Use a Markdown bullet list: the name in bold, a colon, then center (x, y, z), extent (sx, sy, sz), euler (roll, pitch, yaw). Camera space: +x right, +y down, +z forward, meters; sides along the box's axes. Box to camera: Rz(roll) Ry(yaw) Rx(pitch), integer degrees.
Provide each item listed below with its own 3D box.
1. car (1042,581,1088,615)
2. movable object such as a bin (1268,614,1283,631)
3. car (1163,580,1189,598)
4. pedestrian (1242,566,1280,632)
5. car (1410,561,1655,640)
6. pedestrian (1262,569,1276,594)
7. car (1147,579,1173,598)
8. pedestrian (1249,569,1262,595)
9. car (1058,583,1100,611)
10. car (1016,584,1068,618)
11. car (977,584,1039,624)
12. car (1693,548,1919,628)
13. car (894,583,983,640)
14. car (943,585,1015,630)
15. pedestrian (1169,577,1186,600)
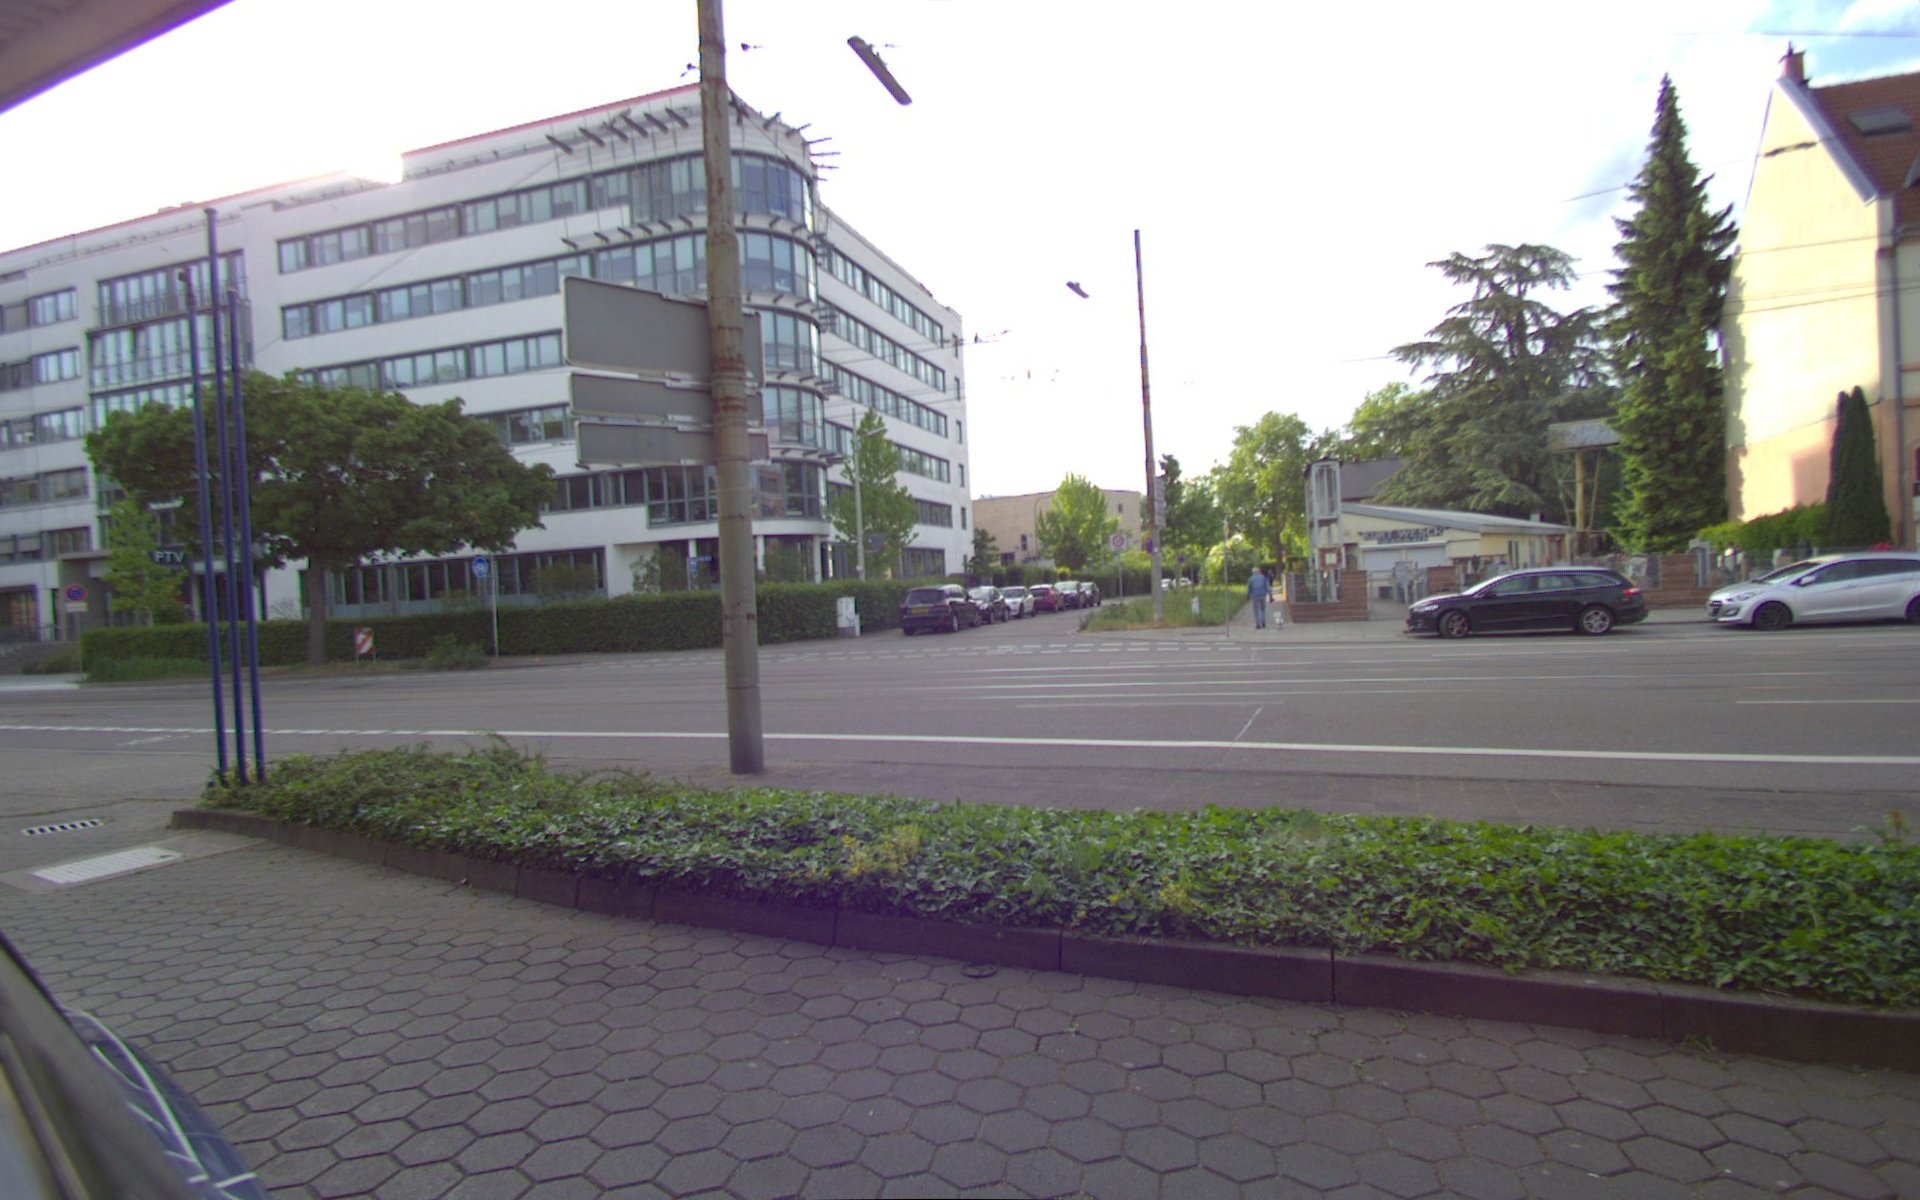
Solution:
- **car**: center (6.041, -0.141, 57.807), extent (1.807, 1.704, 4.392), euler (-4, 0, 16)
- **movable object such as a bin**: center (8.687, 0.620, 27.874), extent (0.363, 0.397, 0.660), euler (-3, 4, 16)
- **car**: center (22.843, -1.167, 106.856), extent (1.813, 1.654, 4.040), euler (-4, 0, 25)
- **pedestrian**: center (8.333, -0.046, 28.010), extent (0.901, 1.712, 0.922), euler (-2, 5, 14)
- **car**: center (13.025, 0.012, 23.369), extent (4.632, 1.533, 1.842), euler (-3, 2, 22)
- **pedestrian**: center (23.557, -1.390, 77.071), extent (0.965, 1.896, 1.056), euler (-1, 0, 17)
- **car**: center (19.966, -1.146, 100.909), extent (1.811, 1.654, 4.044), euler (-4, 0, 22)
- **pedestrian**: center (22.584, -1.377, 77.361), extent (0.965, 1.896, 1.056), euler (-1, 0, 17)
- **car**: center (7.396, -0.219, 62.572), extent (1.807, 1.585, 4.052), euler (-4, 0, 16)
- **car**: center (4.310, 0.018, 52.409), extent (1.807, 1.589, 4.175), euler (-4, 0, 16)
- **car**: center (2.235, 0.149, 45.687), extent (1.807, 1.589, 4.175), euler (-4, 0, 16)
- **car**: center (18.418, -0.262, 21.399), extent (4.349, 1.493, 1.732), euler (-3, 1, 22)
- **car**: center (-0.676, 0.356, 35.568), extent (1.807, 1.701, 4.370), euler (-4, 1, 16)
- **car**: center (0.842, 0.268, 40.983), extent (1.807, 1.589, 4.175), euler (-4, 0, 16)
- **pedestrian**: center (18.433, -0.949, 85.776), extent (1.045, 1.896, 0.975), euler (-1, 0, -40)
